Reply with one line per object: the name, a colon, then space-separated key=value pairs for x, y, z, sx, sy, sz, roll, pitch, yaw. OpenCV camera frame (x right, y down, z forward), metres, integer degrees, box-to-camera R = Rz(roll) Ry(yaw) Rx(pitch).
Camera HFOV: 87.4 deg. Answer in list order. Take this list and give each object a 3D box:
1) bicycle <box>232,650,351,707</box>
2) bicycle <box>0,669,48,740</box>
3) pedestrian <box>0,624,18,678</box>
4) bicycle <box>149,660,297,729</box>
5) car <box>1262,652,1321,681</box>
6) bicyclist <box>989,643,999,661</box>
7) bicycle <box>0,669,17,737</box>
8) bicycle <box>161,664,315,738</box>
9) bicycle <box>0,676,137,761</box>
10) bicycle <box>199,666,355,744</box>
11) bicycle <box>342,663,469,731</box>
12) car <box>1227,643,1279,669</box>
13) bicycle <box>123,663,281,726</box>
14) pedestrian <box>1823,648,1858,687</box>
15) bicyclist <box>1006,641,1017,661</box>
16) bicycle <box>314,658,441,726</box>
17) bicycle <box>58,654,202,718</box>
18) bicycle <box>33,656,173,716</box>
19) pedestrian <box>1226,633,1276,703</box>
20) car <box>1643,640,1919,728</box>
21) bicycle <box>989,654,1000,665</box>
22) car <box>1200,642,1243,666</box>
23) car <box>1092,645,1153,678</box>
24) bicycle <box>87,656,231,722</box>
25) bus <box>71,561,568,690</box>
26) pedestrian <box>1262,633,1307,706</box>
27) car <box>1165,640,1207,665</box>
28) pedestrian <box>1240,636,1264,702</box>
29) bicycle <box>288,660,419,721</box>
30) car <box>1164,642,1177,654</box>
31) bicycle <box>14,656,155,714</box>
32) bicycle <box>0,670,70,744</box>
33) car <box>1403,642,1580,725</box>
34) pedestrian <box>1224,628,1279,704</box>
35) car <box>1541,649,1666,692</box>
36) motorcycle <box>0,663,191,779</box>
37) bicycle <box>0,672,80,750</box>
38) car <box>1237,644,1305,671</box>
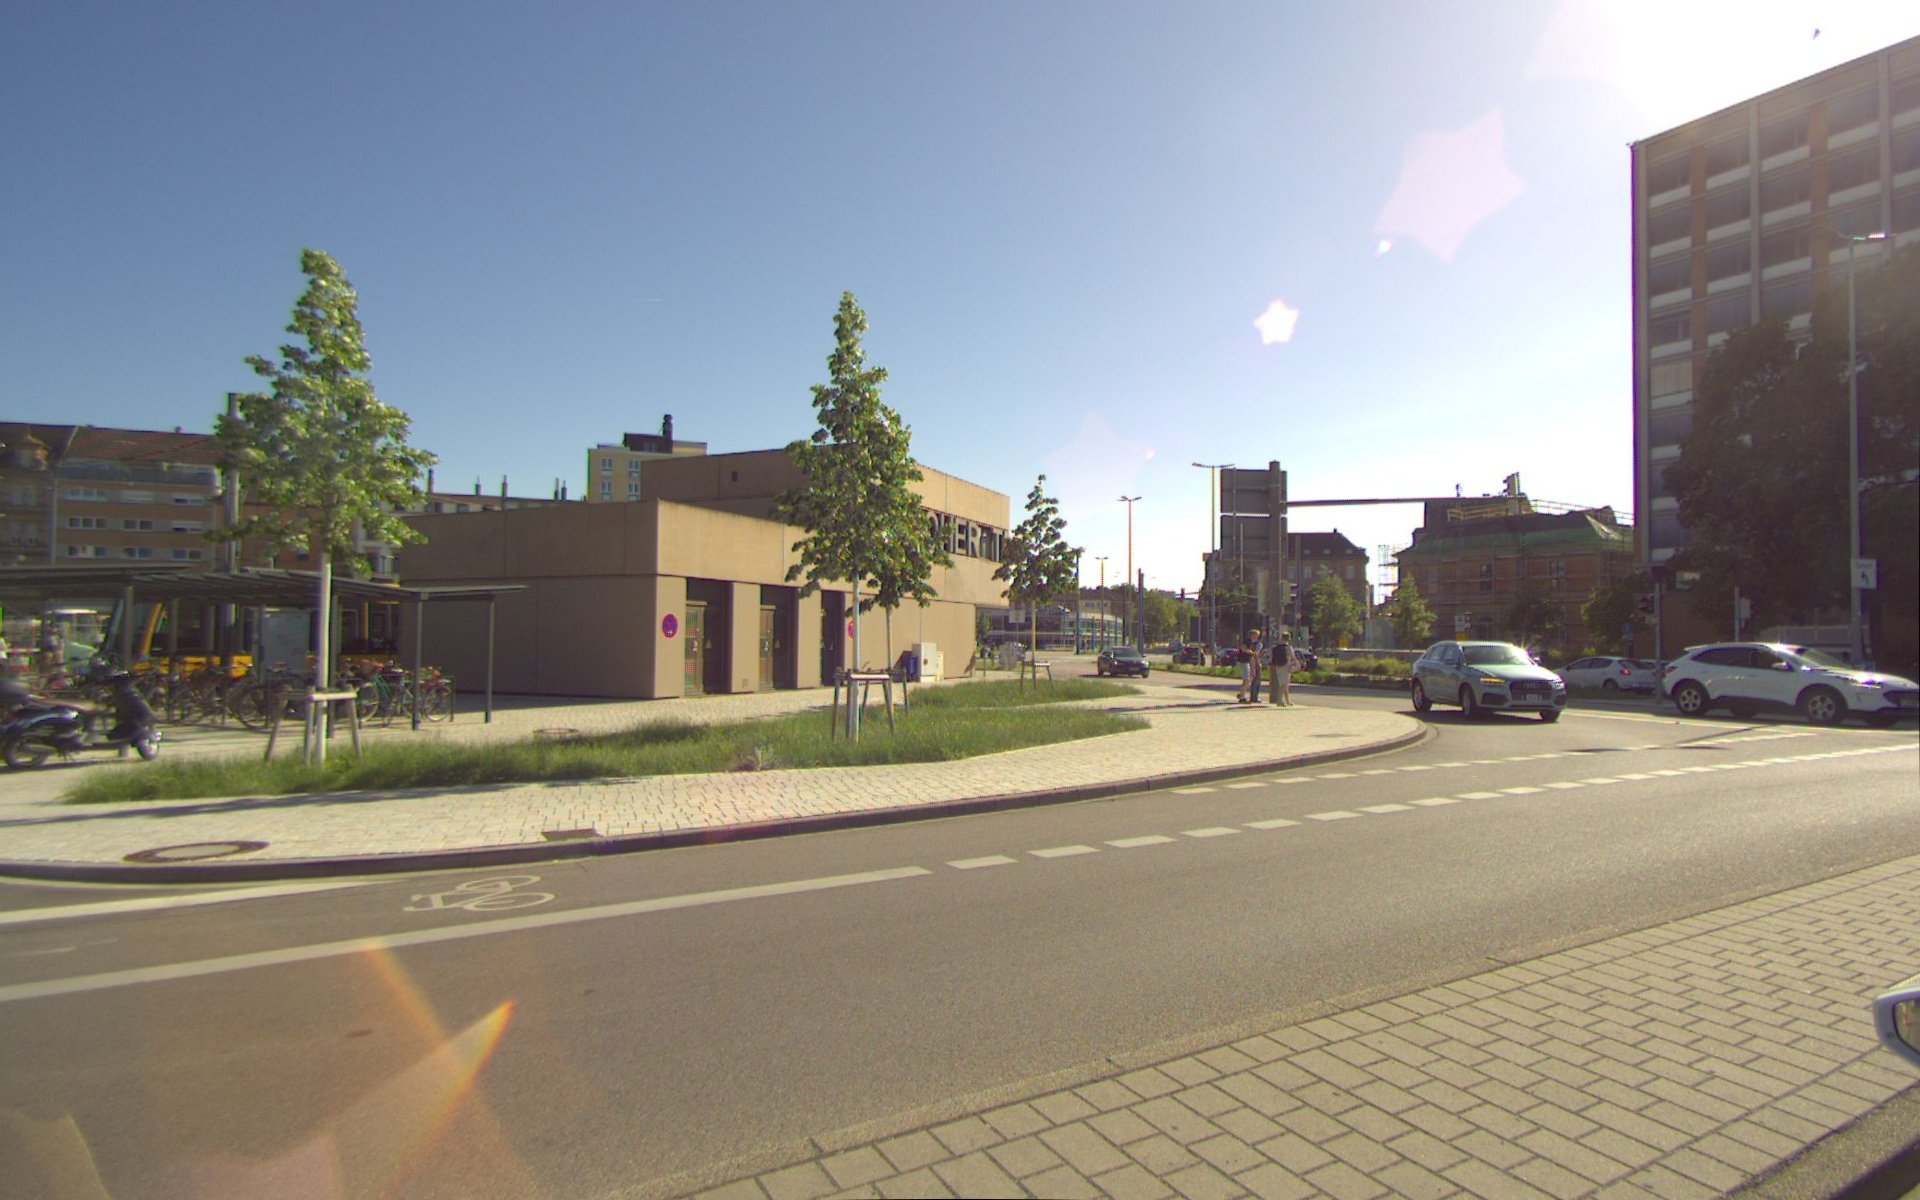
bicycle: x=-13.922 y=1.614 z=20.994 sx=0.524 sy=1.051 sz=2.070 roll=2 pitch=0 yaw=26
bicycle: x=-14.205 y=1.524 z=14.377 sx=0.399 sy=0.985 sz=1.683 roll=2 pitch=0 yaw=22
pedestrian: x=-33.696 y=1.778 z=35.300 sx=0.520 sy=1.896 sz=0.644 roll=0 pitch=-2 yaw=24
bicycle: x=-12.903 y=1.628 z=17.658 sx=0.524 sy=1.051 sz=2.070 roll=2 pitch=0 yaw=26
car: x=20.692 y=4.131 z=62.891 sx=1.810 sy=1.653 sz=4.382 roll=1 pitch=-2 yaw=-8
bicyclist: x=2.886 y=4.394 z=84.689 sx=0.674 sy=1.440 sz=1.127 roll=1 pitch=-4 yaw=-8
bicycle: x=-14.722 y=1.540 z=14.427 sx=0.399 sy=0.985 sz=1.683 roll=2 pitch=0 yaw=22
bicycle: x=-12.006 y=1.651 z=16.787 sx=0.524 sy=1.051 sz=2.070 roll=2 pitch=0 yaw=26
bicycle: x=-12.207 y=1.572 z=13.580 sx=0.399 sy=0.985 sz=1.683 roll=2 pitch=0 yaw=22
bicycle: x=-10.908 y=1.649 z=16.135 sx=0.524 sy=1.051 sz=2.070 roll=2 pitch=0 yaw=26
bicycle: x=-9.972 y=1.720 z=18.163 sx=0.524 sy=1.051 sz=2.070 roll=2 pitch=0 yaw=26
car: x=20.079 y=3.837 z=68.980 sx=1.810 sy=1.653 sz=4.382 roll=1 pitch=-2 yaw=-8
bicycle: x=-13.714 y=1.676 z=18.263 sx=0.673 sy=0.956 sz=2.233 roll=2 pitch=0 yaw=25
pedestrian: x=36.785 y=2.836 z=41.965 sx=0.549 sy=1.591 sz=0.861 roll=0 pitch=-4 yaw=-13
bicyclist: x=3.970 y=3.953 z=77.235 sx=0.727 sy=1.519 sz=1.071 roll=1 pitch=-3 yaw=-7
bicycle: x=-10.802 y=1.682 z=18.701 sx=0.594 sy=1.093 sz=2.053 roll=2 pitch=0 yaw=25
bicycle: x=-15.907 y=1.622 z=19.321 sx=0.524 sy=1.051 sz=2.070 roll=5 pitch=1 yaw=26
bicycle: x=-16.888 y=1.676 z=19.850 sx=0.524 sy=1.051 sz=2.070 roll=-2 pitch=-2 yaw=26
pedestrian: x=7.370 y=1.729 z=25.408 sx=0.831 sy=1.711 sz=0.896 roll=5 pitch=-5 yaw=-34
car: x=17.539 y=1.758 z=21.552 sx=1.815 sy=1.640 sz=4.687 roll=3 pitch=-4 yaw=-16
bicycle: x=2.878 y=4.989 z=84.639 sx=0.674 sy=0.930 sz=1.989 roll=1 pitch=-4 yaw=-7
car: x=19.612 y=4.032 z=75.508 sx=1.809 sy=1.653 sz=4.386 roll=1 pitch=-2 yaw=-4
car: x=7.937 y=3.054 z=49.561 sx=1.785 sy=1.524 sz=4.782 roll=0 pitch=-4 yaw=-6
bicycle: x=-15.021 y=1.639 z=18.907 sx=0.524 sy=1.051 sz=2.070 roll=5 pitch=1 yaw=26
bus: x=-18.514 y=0.864 z=31.193 sx=2.810 sy=3.112 sz=13.620 roll=0 pitch=-2 yaw=25
pedestrian: x=7.742 y=1.664 z=23.999 sx=0.774 sy=1.711 sz=0.795 roll=2 pitch=-5 yaw=-4
car: x=16.885 y=3.910 z=75.285 sx=1.809 sy=1.654 sz=4.384 roll=1 pitch=0 yaw=-4
pedestrian: x=7.869 y=1.854 z=27.062 sx=0.585 sy=1.751 sz=0.580 roll=0 pitch=-2 yaw=14
bicycle: x=-11.767 y=1.731 z=19.574 sx=0.679 sy=1.011 sz=2.140 roll=2 pitch=0 yaw=26
car: x=38.107 y=8.723 z=181.789 sx=1.959 sy=2.040 sz=4.003 roll=0 pitch=-2 yaw=7
bicycle: x=-17.776 y=1.696 z=20.458 sx=0.524 sy=1.051 sz=2.070 roll=5 pitch=0 yaw=26
bicycle: x=-13.700 y=1.530 z=14.175 sx=0.399 sy=0.985 sz=1.683 roll=2 pitch=0 yaw=22
car: x=11.231 y=1.728 z=21.594 sx=1.757 sy=1.602 sz=4.261 roll=-1 pitch=-3 yaw=4
pedestrian: x=7.157 y=1.624 z=24.699 sx=1.083 sy=1.822 sz=0.704 roll=2 pitch=-4 yaw=-11
car: x=23.973 y=2.601 z=37.575 sx=1.714 sy=1.454 sz=3.838 roll=1 pitch=-2 yaw=-15
motorcycle: x=-10.853 y=1.446 z=12.478 sx=0.558 sy=1.235 sz=2.087 roll=0 pitch=-1 yaw=21
bicycle: x=-13.235 y=1.542 z=13.814 sx=0.399 sy=0.985 sz=1.683 roll=2 pitch=0 yaw=22
car: x=18.013 y=3.316 z=58.462 sx=1.811 sy=1.406 sz=4.893 roll=1 pitch=-2 yaw=-9
